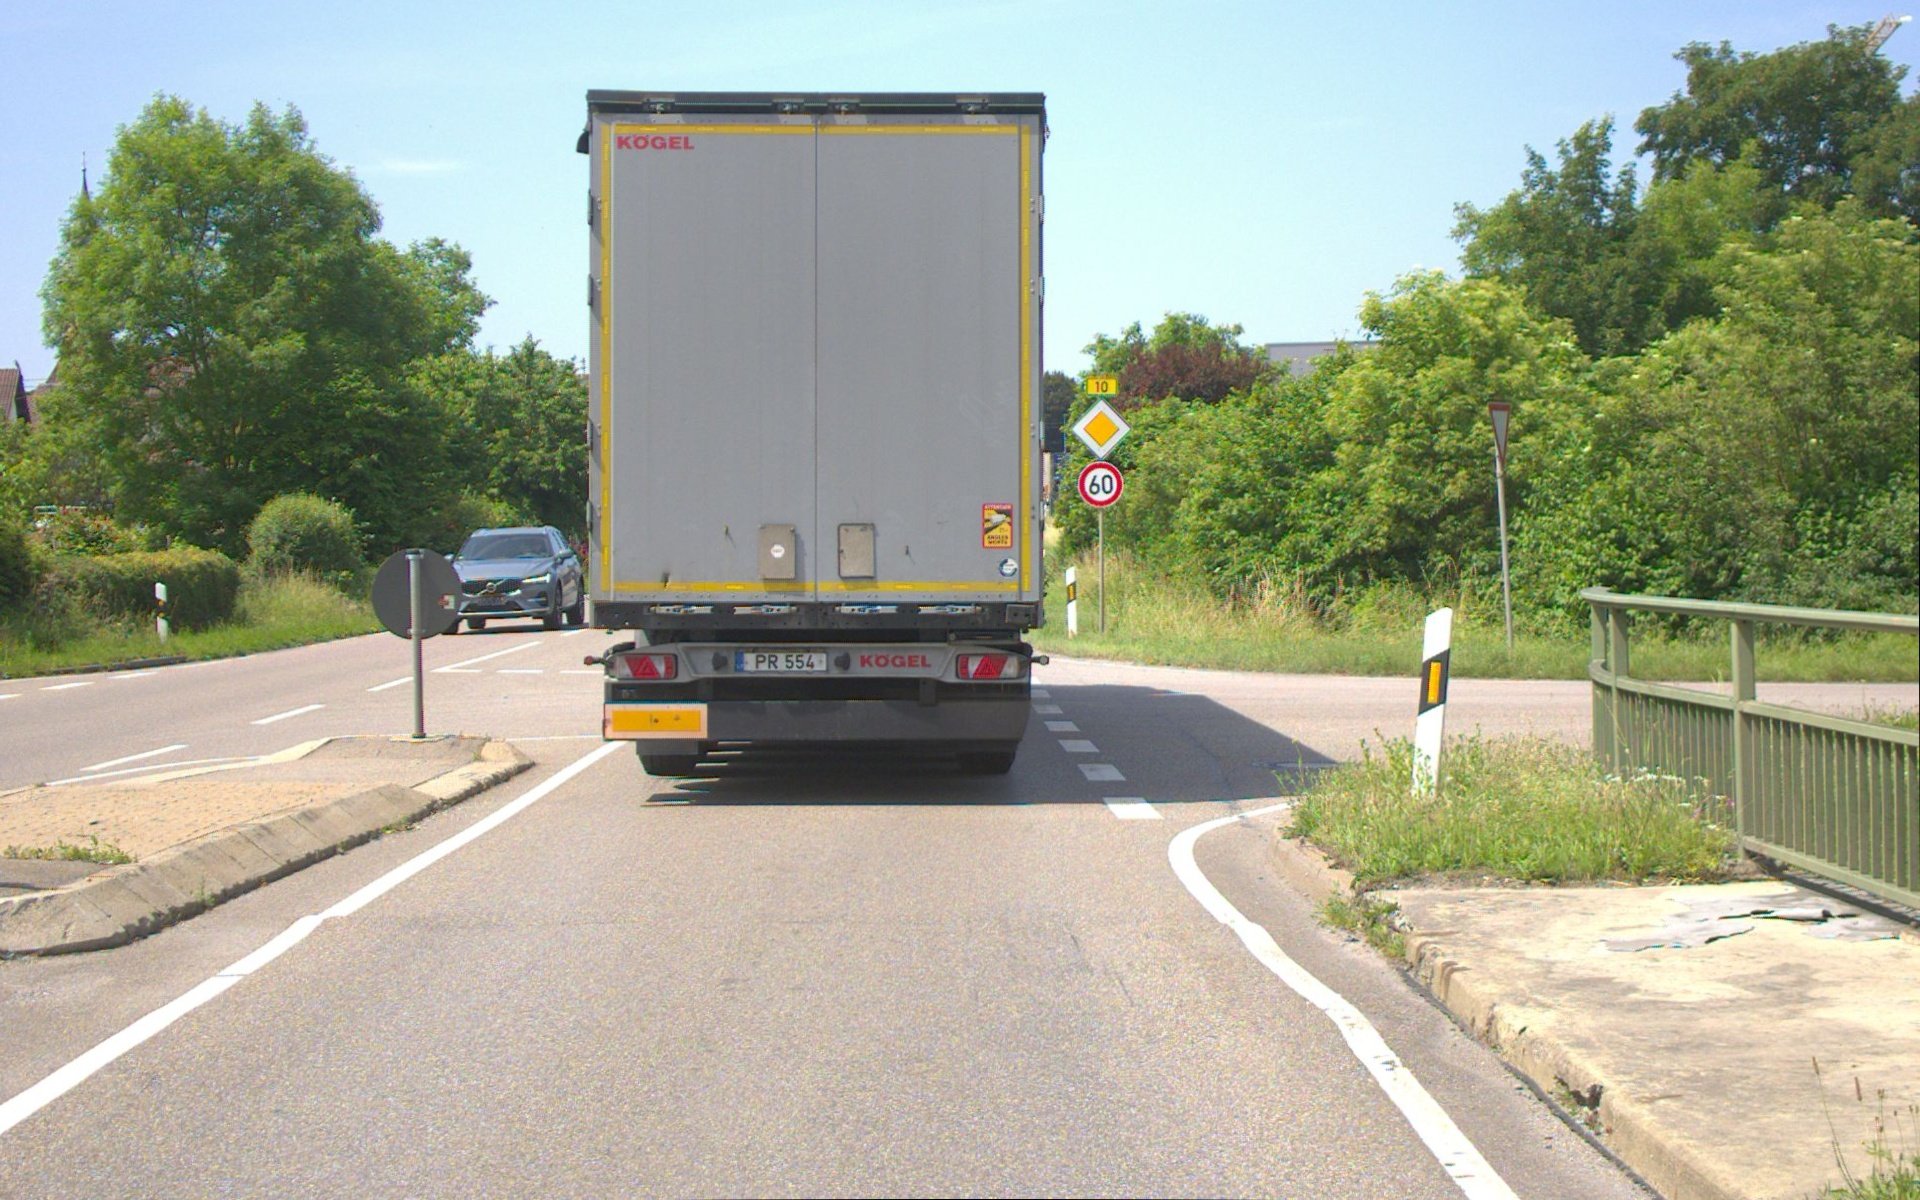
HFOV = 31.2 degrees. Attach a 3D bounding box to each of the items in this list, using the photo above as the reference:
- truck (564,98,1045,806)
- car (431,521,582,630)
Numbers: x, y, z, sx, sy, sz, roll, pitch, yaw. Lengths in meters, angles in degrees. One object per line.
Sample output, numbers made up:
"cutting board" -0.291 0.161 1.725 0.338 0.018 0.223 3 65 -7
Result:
"truck" -1.052 -0.913 23.412 2.647 3.903 8.826 0 1 -3
"car" -7.248 -0.417 55.347 1.948 1.648 4.432 -1 1 -2
